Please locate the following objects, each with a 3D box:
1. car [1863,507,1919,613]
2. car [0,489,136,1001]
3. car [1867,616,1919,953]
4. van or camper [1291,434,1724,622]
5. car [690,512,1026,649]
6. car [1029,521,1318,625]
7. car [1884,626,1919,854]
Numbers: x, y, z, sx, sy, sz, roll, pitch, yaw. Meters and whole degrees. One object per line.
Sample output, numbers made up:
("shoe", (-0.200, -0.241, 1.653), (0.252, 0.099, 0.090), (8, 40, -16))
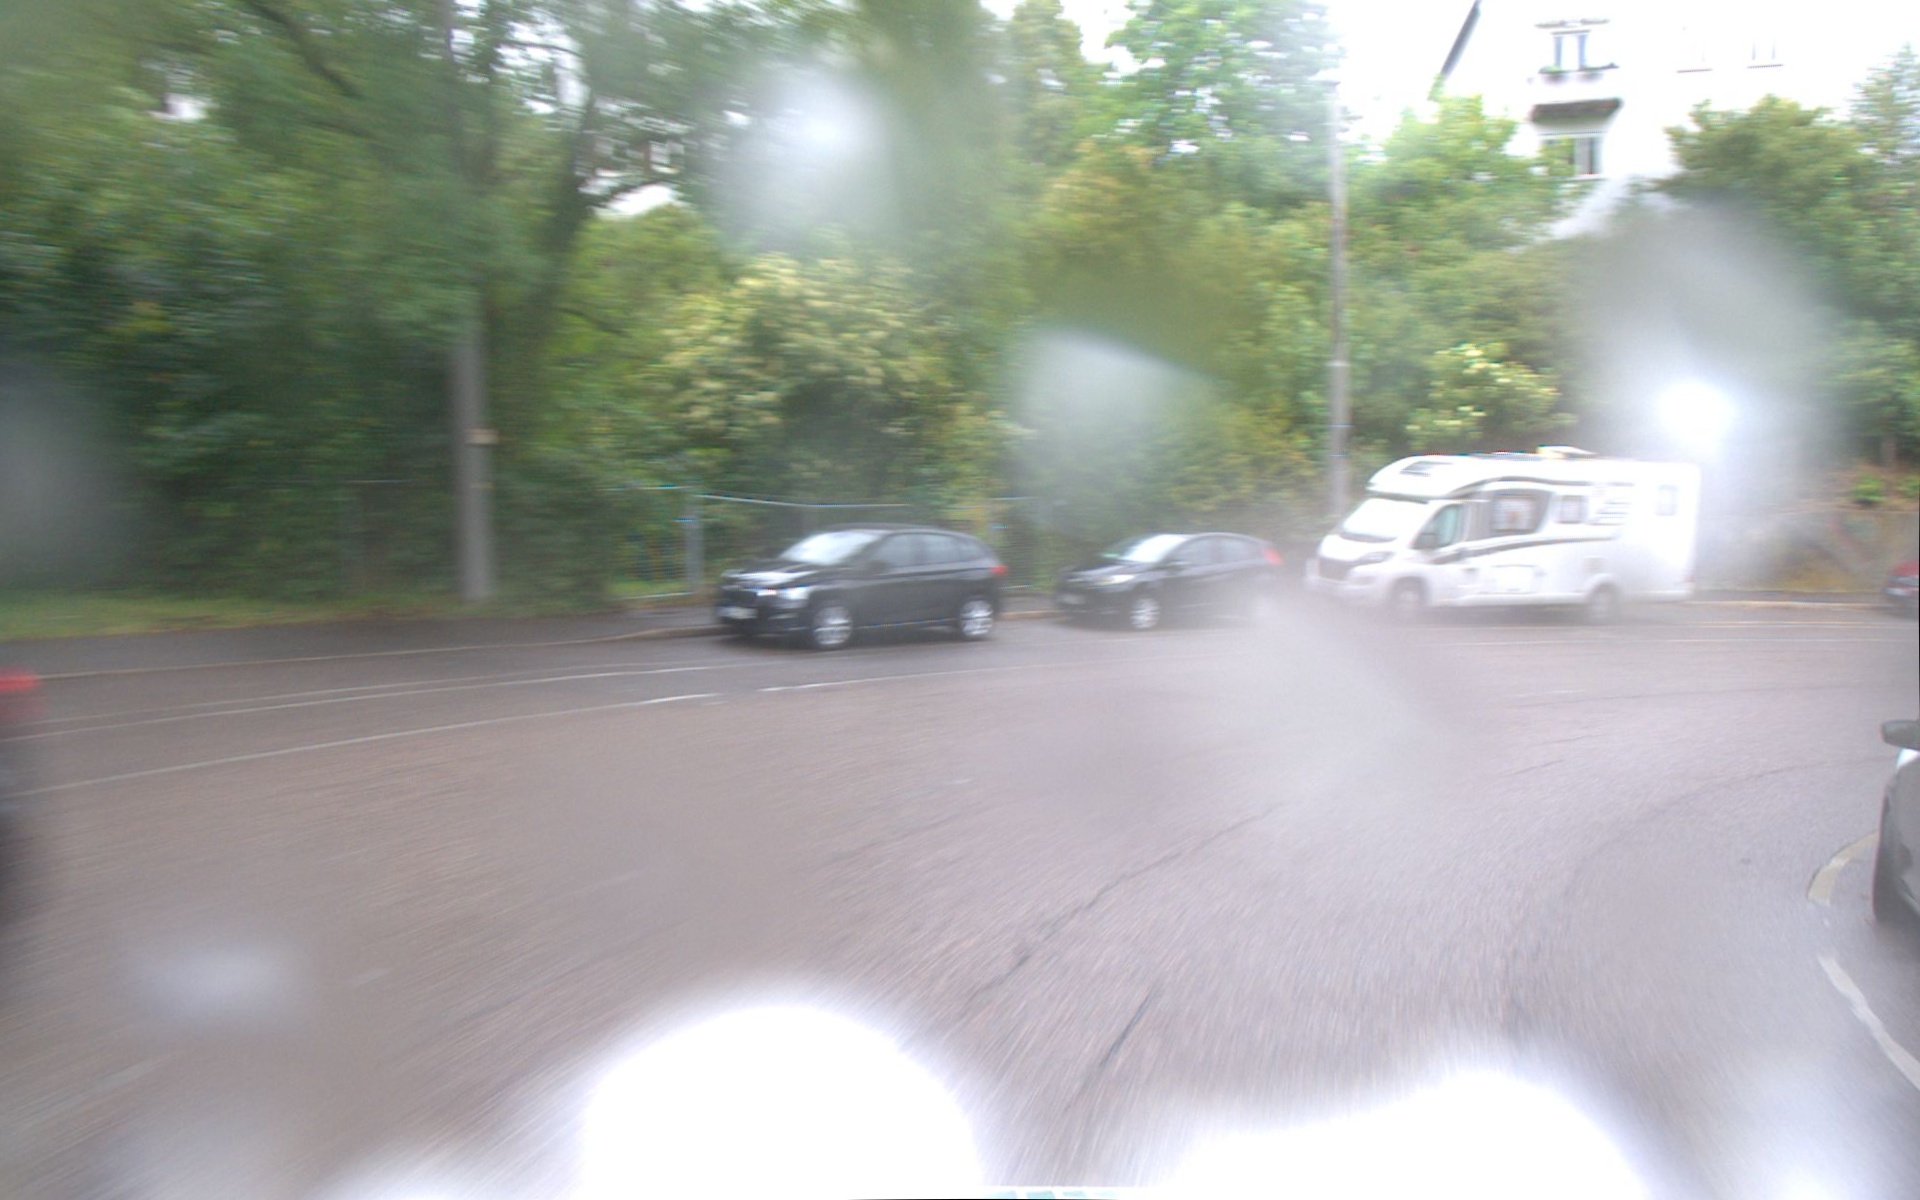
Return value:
("car", (20.516, -0.725, 32.270), (4.813, 1.920, 1.793), (2, 6, -6))
("car", (-4.032, 0.450, 3.701), (1.722, 1.544, 4.090), (2, 2, 12))
("car", (5.092, 0.914, 7.057), (1.616, 1.490, 4.032), (5, 2, 23))
("van or camper", (9.625, -1.274, 28.953), (7.533, 2.981, 2.187), (0, 6, -23))
("car", (-1.214, -0.302, 21.289), (1.754, 1.490, 4.286), (6, 6, 42))
("car", (3.318, -0.421, 25.452), (4.258, 1.379, 1.741), (0, 5, -33))
("car", (7.829, 0.940, 11.578), (1.660, 1.432, 3.710), (6, 4, 39))
